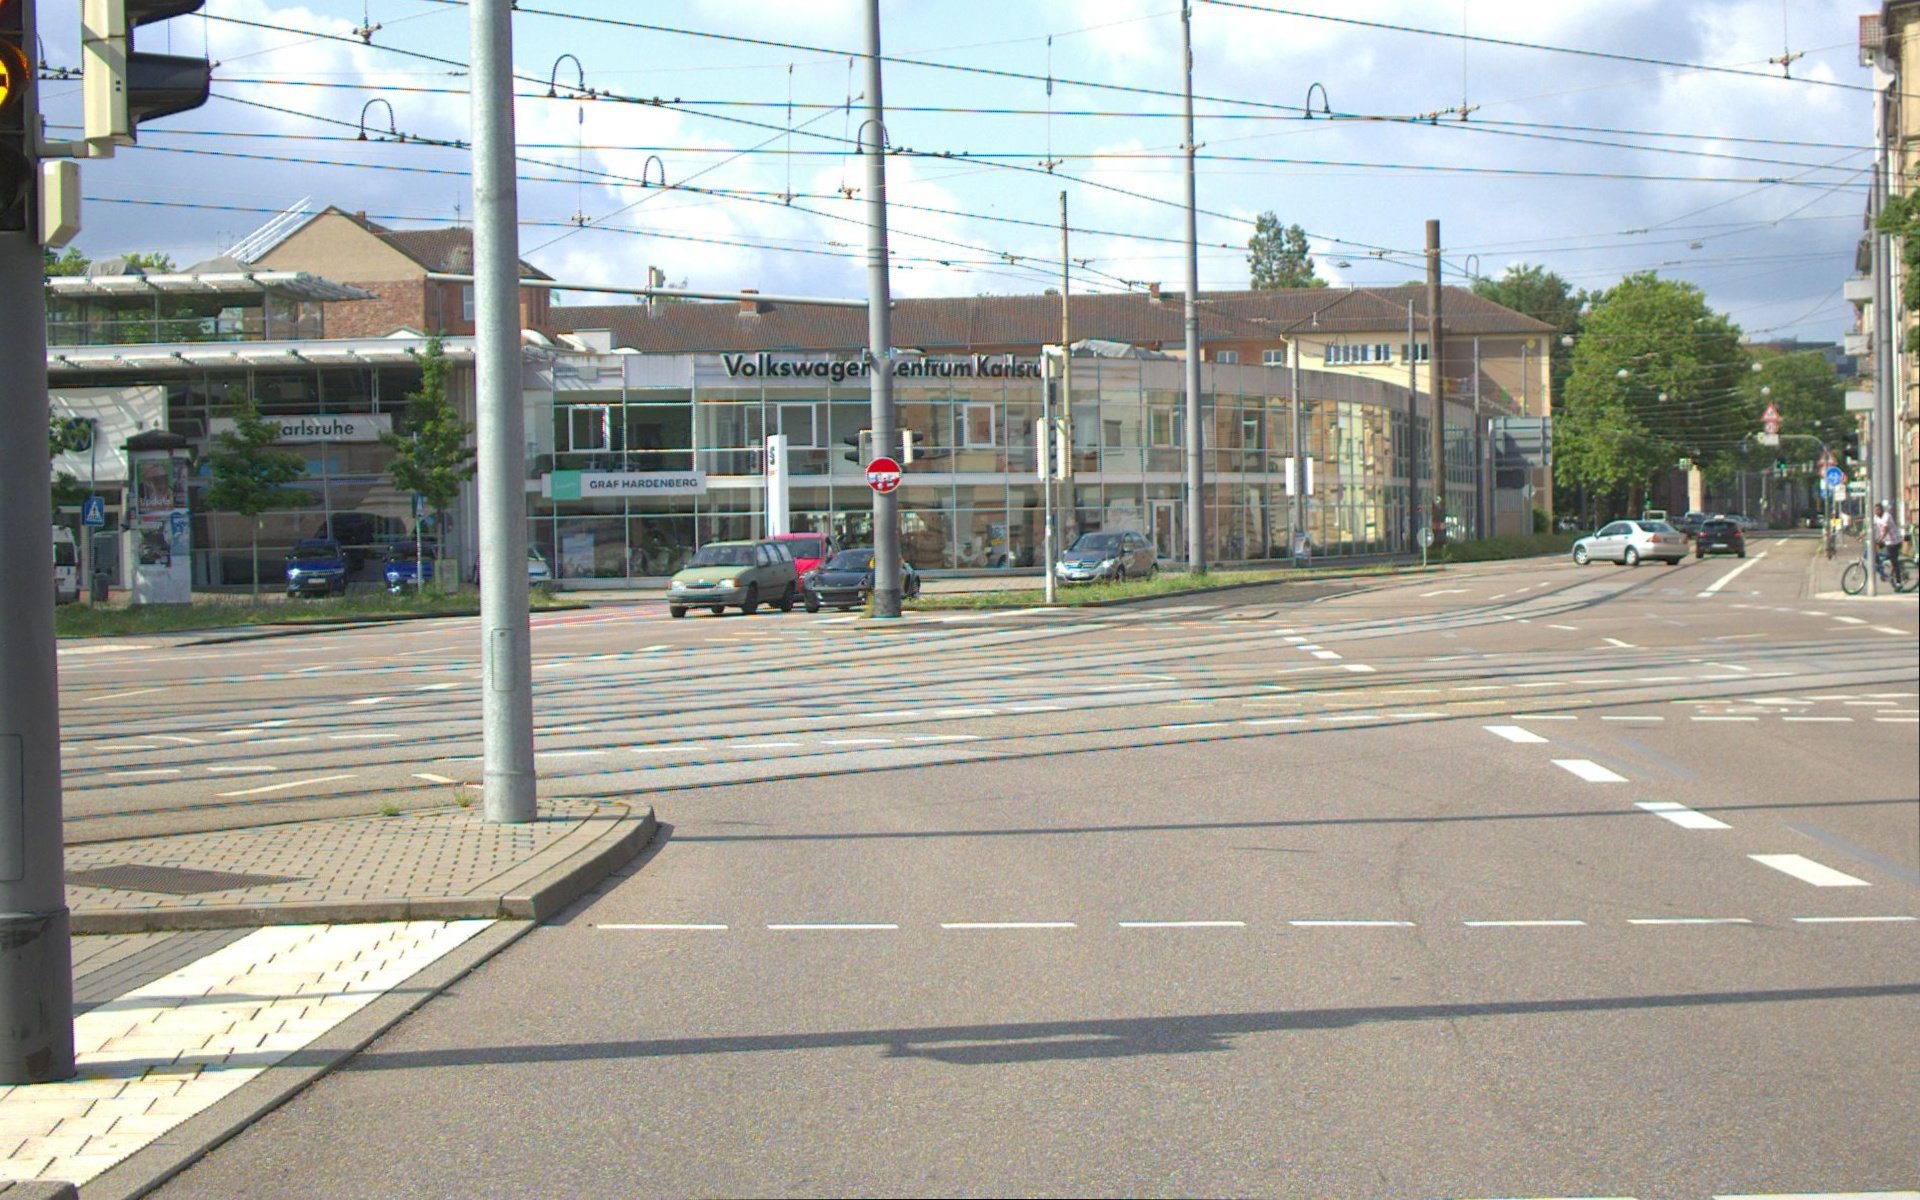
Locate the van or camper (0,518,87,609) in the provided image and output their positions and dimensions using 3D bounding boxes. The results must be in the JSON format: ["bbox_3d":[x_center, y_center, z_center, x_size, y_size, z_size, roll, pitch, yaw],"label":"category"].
[{"bbox_3d":[-27.574,-1.044,95.737,5.878,2.460,2.393,1,0,4],"label":"van or camper"}]

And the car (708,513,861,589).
[{"bbox_3d":[-3.616,-1.000,71.583,1.995,1.514,3.997,1,1,15],"label":"car"}]

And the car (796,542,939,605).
[{"bbox_3d":[-1.727,-0.503,65.647,1.622,1.157,3.997,1,1,15],"label":"car"}]

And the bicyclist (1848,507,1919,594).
[{"bbox_3d":[17.943,-0.958,66.654,1.193,1.652,0.786,-1,1,-3],"label":"bicyclist"}]

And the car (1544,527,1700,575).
[{"bbox_3d":[20.572,-1.526,106.913,4.478,1.459,1.777,1,1,42],"label":"car"}]

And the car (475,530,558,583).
[{"bbox_3d":[-13.434,-1.336,104.281,1.919,1.546,4.000,-1,1,1],"label":"car"}]

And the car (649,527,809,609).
[{"bbox_3d":[-4.400,-0.608,66.048,1.822,1.508,3.997,1,1,15],"label":"car"}]

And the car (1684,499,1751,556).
[{"bbox_3d":[27.548,-2.639,124.897,1.995,2.007,3.997,-1,1,18],"label":"car"}]

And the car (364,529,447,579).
[{"bbox_3d":[-16.467,-1.380,102.223,1.919,1.440,4.000,-1,1,-1],"label":"car"}]

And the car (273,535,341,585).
[{"bbox_3d":[-19.454,-1.211,102.505,1.919,1.440,4.001,-1,1,-10],"label":"car"}]

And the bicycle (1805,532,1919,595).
[{"bbox_3d":[17.850,-0.720,66.664,2.671,1.166,0.901,-1,1,-3],"label":"bicycle"}]

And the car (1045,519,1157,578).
[{"bbox_3d":[3.848,-1.407,93.234,1.995,1.546,3.997,-1,1,18],"label":"car"}]
